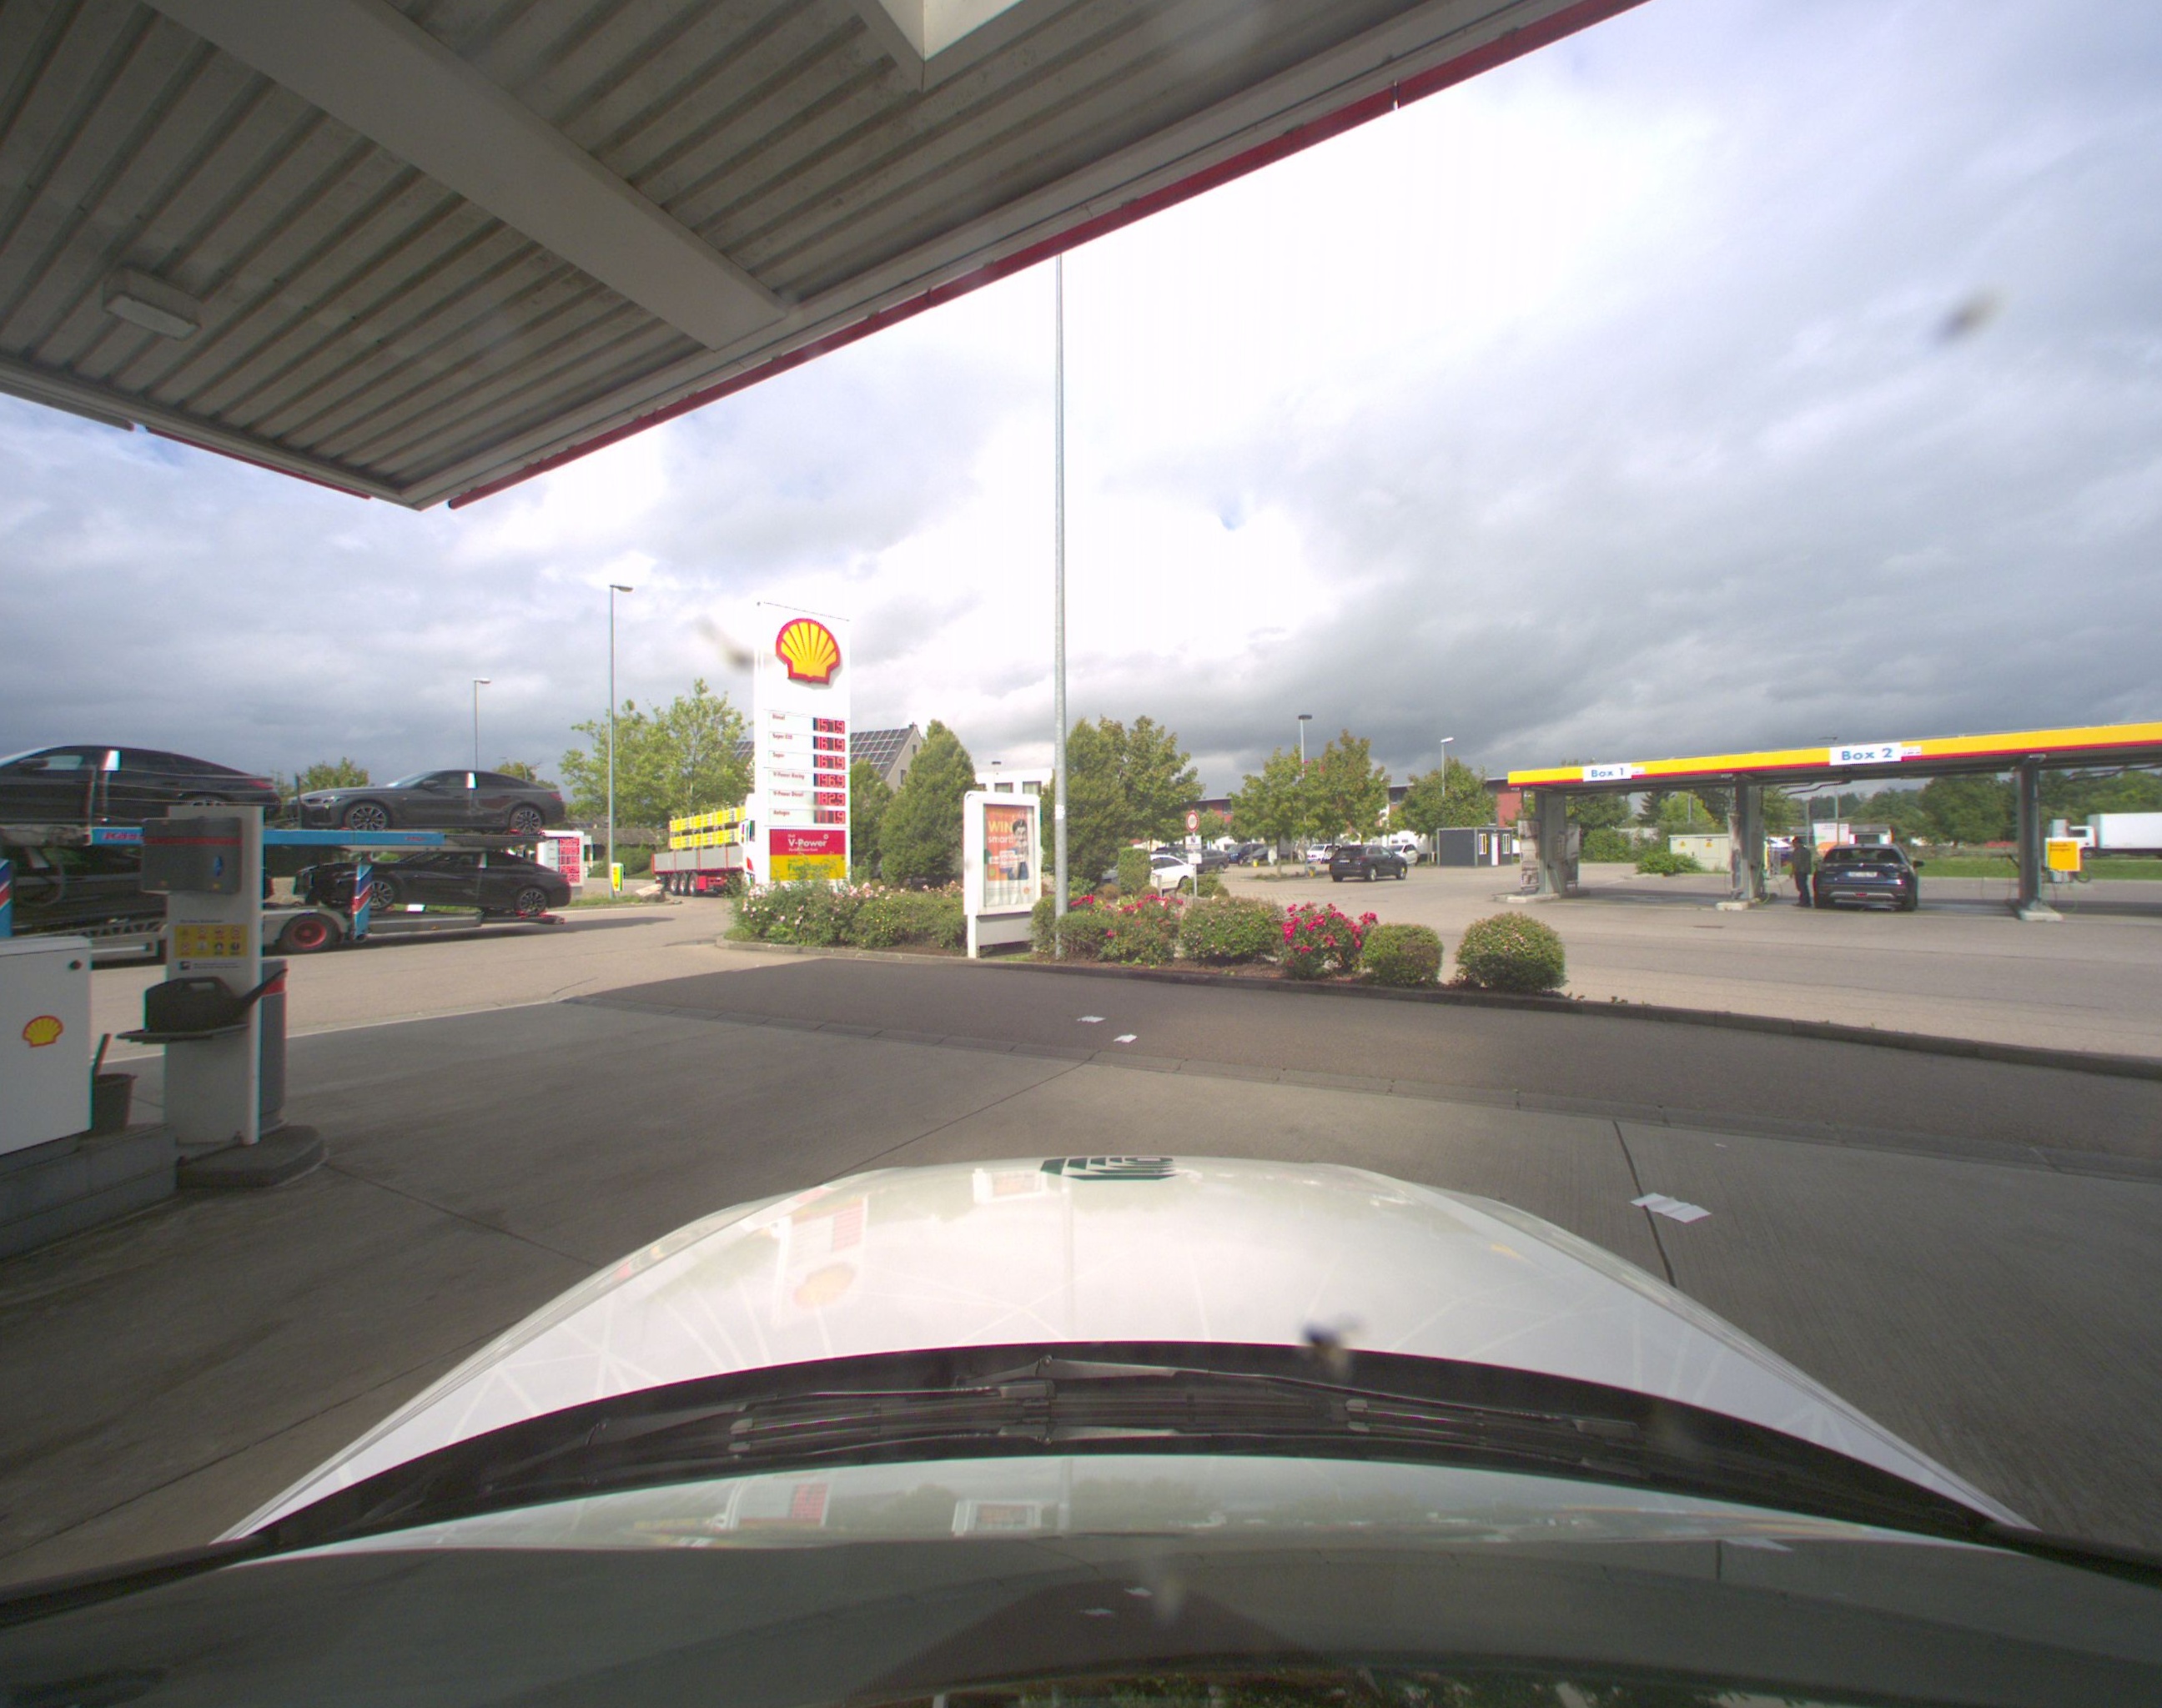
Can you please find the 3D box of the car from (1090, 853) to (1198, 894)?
[{"bbox_3d":[2.382,0.679,30.007,4.368,1.404,1.354,0,-1,-42],"label":"car"}]

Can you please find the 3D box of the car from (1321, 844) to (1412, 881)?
[{"bbox_3d":[12.864,0.371,36.566,4.527,1.548,1.864,0,-1,-41],"label":"car"}]

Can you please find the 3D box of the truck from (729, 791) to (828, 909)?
[{"bbox_3d":[-11.204,-0.104,29.808,2.747,3.846,5.866,0,-1,-27],"label":"truck"}]

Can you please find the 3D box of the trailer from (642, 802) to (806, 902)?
[{"bbox_3d":[-16.407,-0.010,36.575,2.754,3.776,12.558,0,-1,-43],"label":"trailer"}]

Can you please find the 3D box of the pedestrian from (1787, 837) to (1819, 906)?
[{"bbox_3d":[18.245,0.436,20.578,0.551,1.722,0.531,-1,-1,38],"label":"pedestrian"}]

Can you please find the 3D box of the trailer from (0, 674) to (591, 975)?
[{"bbox_3d":[-16.446,-0.419,13.670,2.711,4.423,14.450,-1,-1,31],"label":"trailer"}]

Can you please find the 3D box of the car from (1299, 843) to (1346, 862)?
[{"bbox_3d":[23.861,-0.124,80.255,4.903,1.833,2.159,0,-1,-41],"label":"car"}]

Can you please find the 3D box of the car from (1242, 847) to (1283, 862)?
[{"bbox_3d":[14.480,0.031,64.862,3.437,1.179,1.468,0,-1,-42],"label":"car"}]

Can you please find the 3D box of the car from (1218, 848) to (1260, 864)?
[{"bbox_3d":[12.937,0.179,66.646,3.407,1.320,1.726,0,-1,-42],"label":"car"}]

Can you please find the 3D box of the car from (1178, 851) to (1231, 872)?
[{"bbox_3d":[7.528,0.445,49.692,3.245,1.228,1.488,0,-1,-42],"label":"car"}]

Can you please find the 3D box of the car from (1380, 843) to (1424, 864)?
[{"bbox_3d":[20.595,-0.049,52.202,3.120,1.307,1.352,0,-1,-42],"label":"car"}]

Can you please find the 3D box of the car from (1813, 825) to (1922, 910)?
[{"bbox_3d":[19.427,0.312,20.062,3.828,1.897,1.703,0,-1,-43],"label":"car"}]

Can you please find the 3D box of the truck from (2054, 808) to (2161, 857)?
[{"bbox_3d":[78.218,-1.557,59.996,7.989,3.534,2.714,-1,-1,41],"label":"truck"}]
